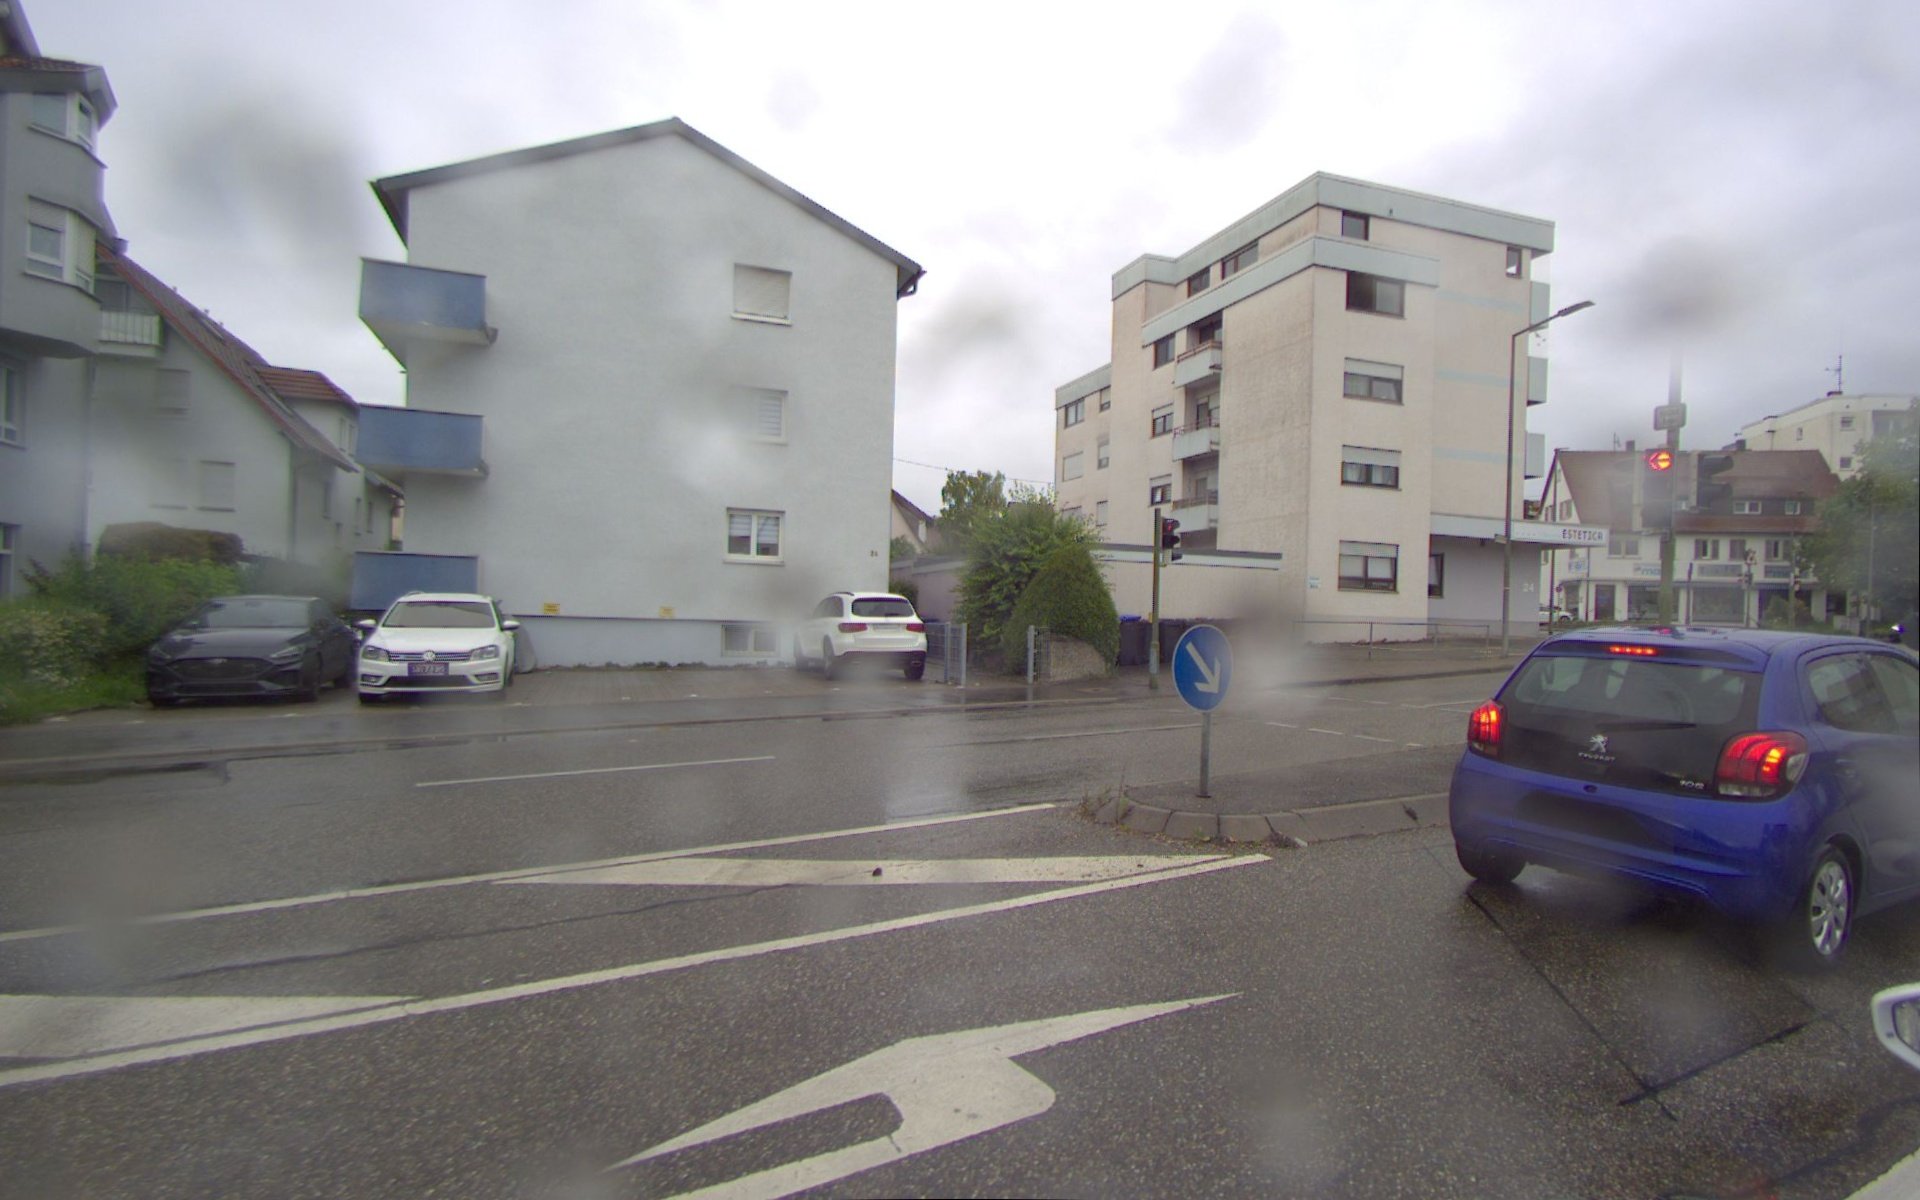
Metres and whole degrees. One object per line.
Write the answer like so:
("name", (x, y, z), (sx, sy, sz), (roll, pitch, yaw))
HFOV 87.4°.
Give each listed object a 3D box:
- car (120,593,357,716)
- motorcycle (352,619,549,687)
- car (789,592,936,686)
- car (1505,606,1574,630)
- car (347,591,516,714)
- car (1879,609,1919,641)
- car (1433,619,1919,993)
("car", (-9.697, 0.652, 13.871), (1.878, 1.429, 3.976), (1, -1, -24))
("motorcycle", (-9.243, 0.916, 18.379), (0.864, 1.115, 3.114), (1, 0, 42))
("car", (-2.085, 0.718, 20.171), (1.910, 1.658, 4.445), (1, -1, -20))
("car", (41.332, 1.240, 71.687), (3.887, 1.593, 1.873), (1, 0, 16))
("car", (-7.490, 0.664, 14.585), (1.878, 1.493, 4.208), (1, -1, -24))
("car", (45.820, 1.182, 48.043), (3.786, 1.439, 1.770), (1, 0, -31))
("car", (4.293, 0.843, 5.454), (3.232, 1.429, 1.571), (1, 0, -30))
